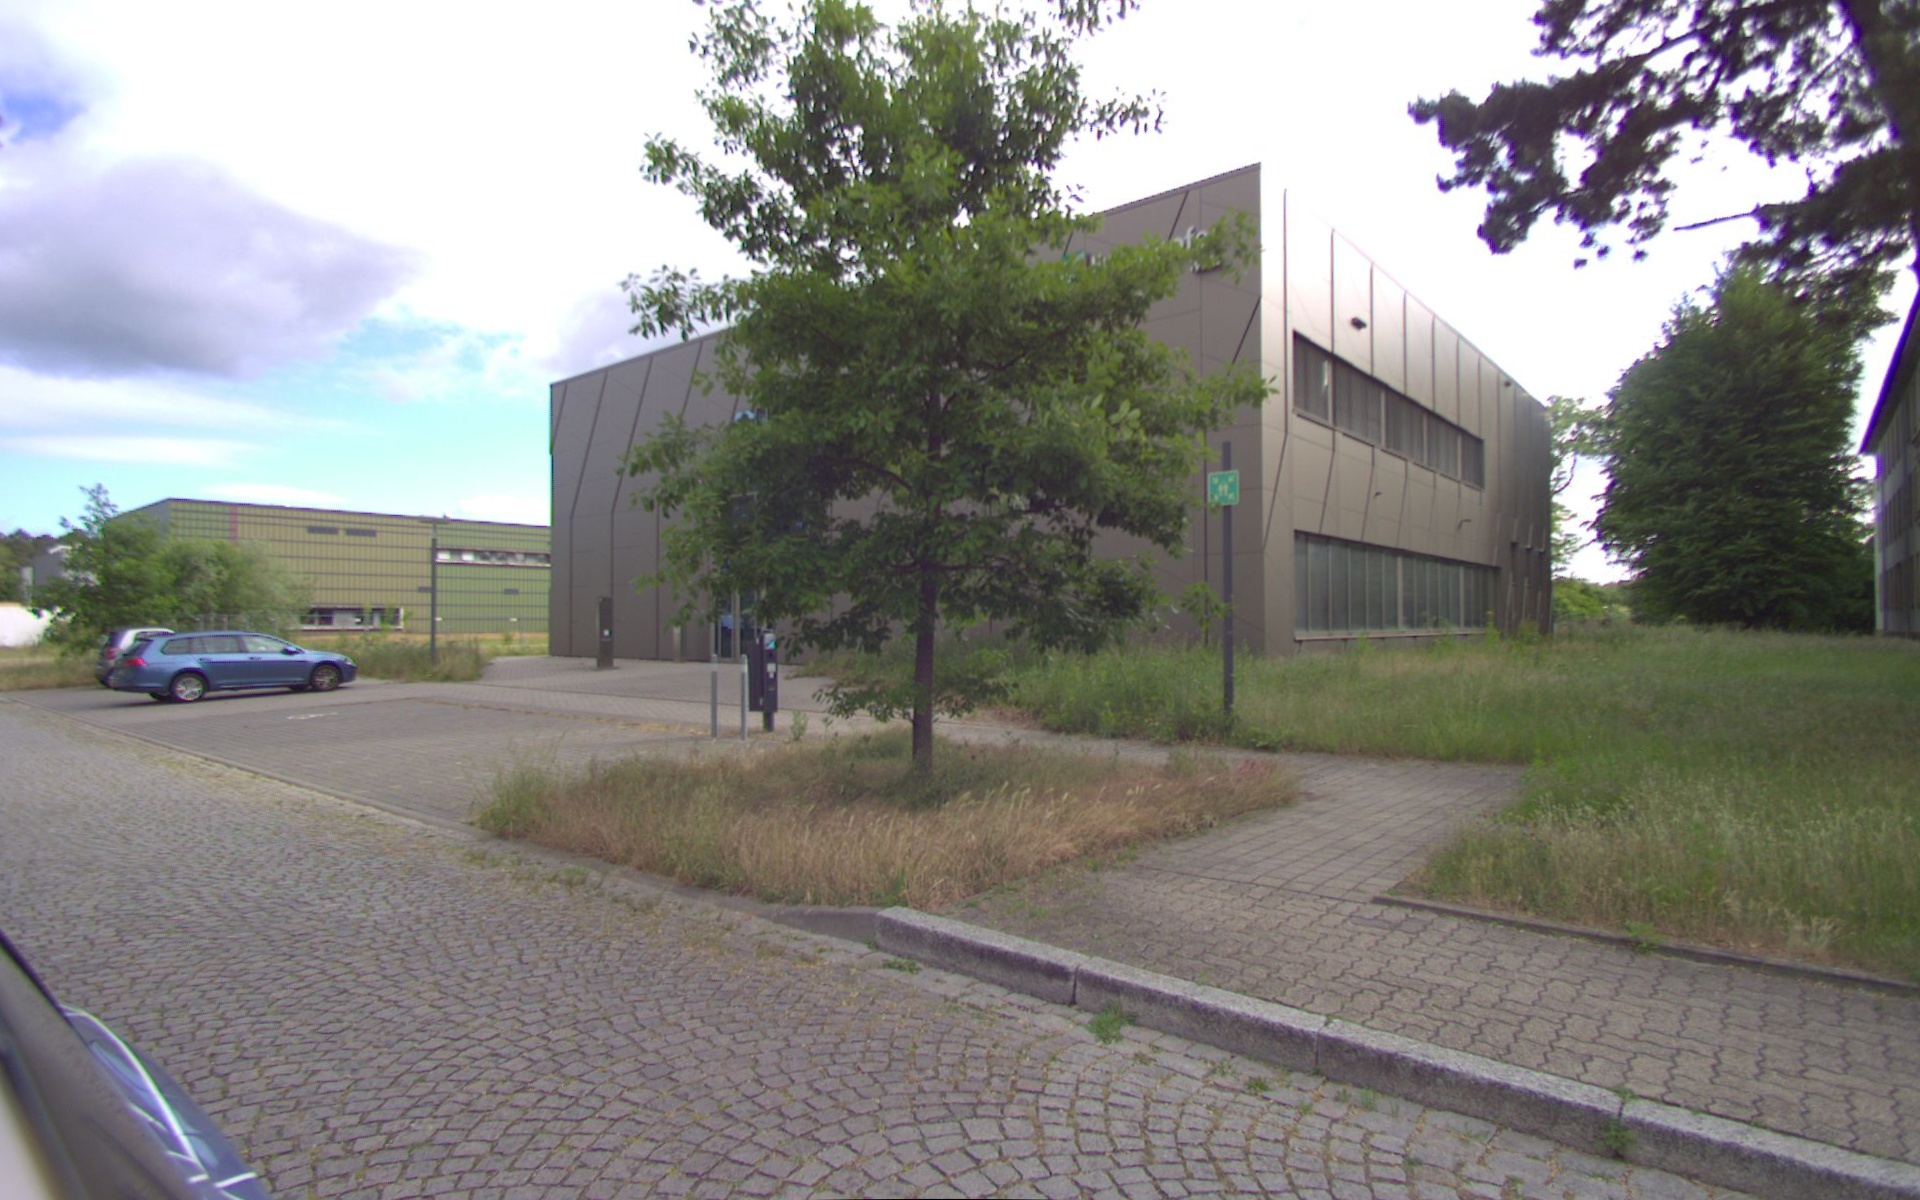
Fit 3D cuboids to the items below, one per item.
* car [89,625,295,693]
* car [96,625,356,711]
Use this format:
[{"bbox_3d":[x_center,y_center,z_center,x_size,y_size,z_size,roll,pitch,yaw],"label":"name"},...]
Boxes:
[{"bbox_3d":[-21.145,1.561,27.974,4.341,1.557,1.843,-2,0,-44],"label":"car"},{"bbox_3d":[-16.146,1.424,22.472,1.714,1.521,4.352,-2,0,37],"label":"car"}]
